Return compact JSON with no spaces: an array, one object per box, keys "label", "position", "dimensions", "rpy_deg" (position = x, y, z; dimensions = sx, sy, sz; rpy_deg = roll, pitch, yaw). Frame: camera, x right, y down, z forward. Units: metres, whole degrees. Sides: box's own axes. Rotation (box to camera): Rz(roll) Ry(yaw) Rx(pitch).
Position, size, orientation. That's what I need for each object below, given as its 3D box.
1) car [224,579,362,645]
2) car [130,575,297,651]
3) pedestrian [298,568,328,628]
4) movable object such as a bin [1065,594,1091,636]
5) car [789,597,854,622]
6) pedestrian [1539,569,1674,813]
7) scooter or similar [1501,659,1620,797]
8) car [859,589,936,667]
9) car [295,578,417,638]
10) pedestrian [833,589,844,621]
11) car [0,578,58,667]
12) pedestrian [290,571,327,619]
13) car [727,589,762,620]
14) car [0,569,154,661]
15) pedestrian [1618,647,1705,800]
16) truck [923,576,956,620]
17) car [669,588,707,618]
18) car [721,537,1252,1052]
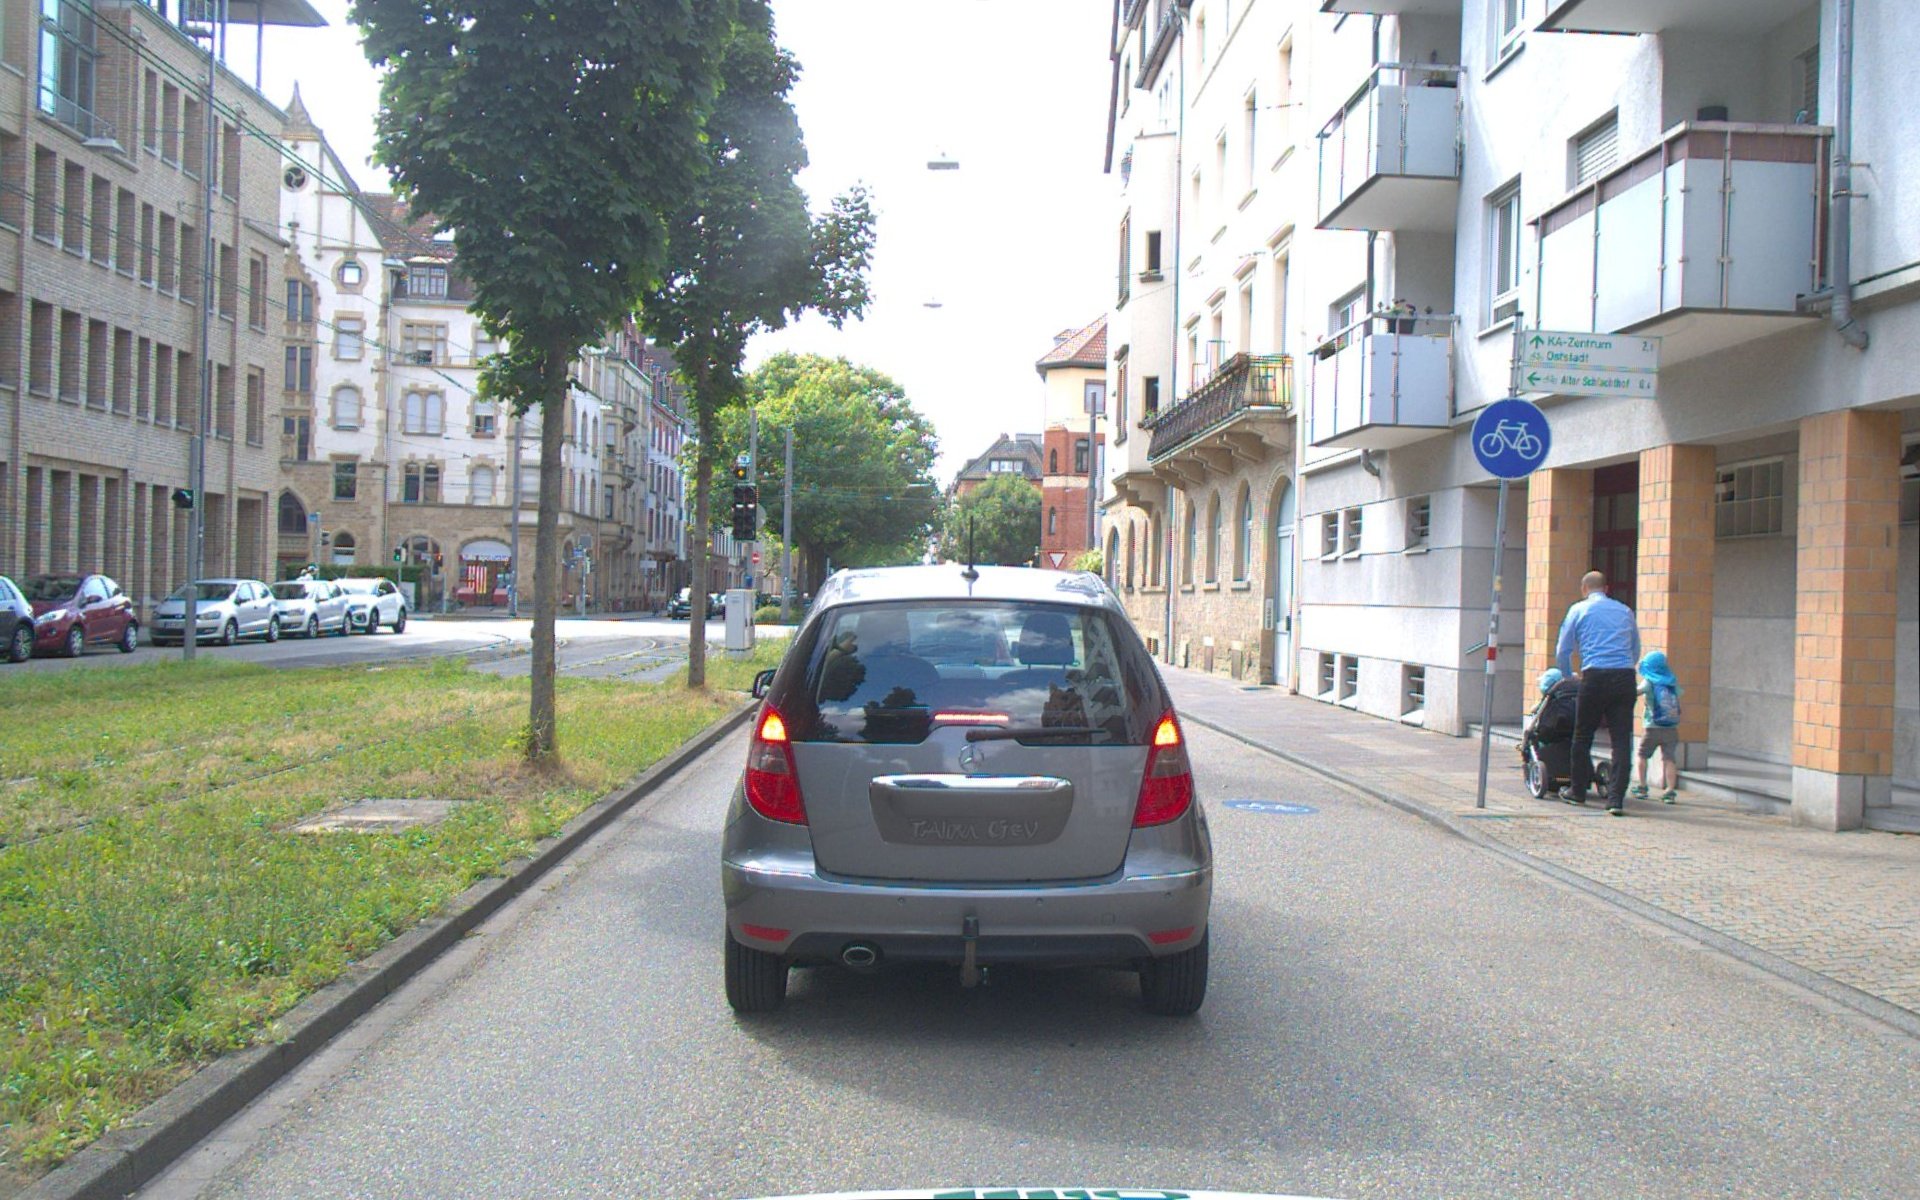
[{"label":"car","position":[-16.948,0.292,42.221],"dimensions":[1.893,1.557,4.014],"rpy_deg":[1,0,-1]},{"label":"car","position":[-16.572,0.260,36.944],"dimensions":[1.813,1.557,4.209],"rpy_deg":[1,0,-1]},{"label":"pedestrian","position":[-20.275,-0.061,51.806],"dimensions":[0.751,1.827,0.952],"rpy_deg":[2,0,-27]},{"label":"movable object such as a bin","position":[4.271,0.546,59.686],"dimensions":[0.701,1.497,0.980],"rpy_deg":[1,0,-10]},{"label":"car","position":[-8.261,0.539,98.439],"dimensions":[1.957,1.362,3.941],"rpy_deg":[2,0,-41]},{"label":"pedestrian","position":[4.895,0.665,12.561],"dimensions":[0.608,1.769,0.877],"rpy_deg":[-2,0,-1]},{"label":"scooter or similar","position":[4.854,1.017,13.410],"dimensions":[0.580,1.019,0.905],"rpy_deg":[-3,0,-1]},{"label":"car","position":[-1.429,0.633,38.812],"dimensions":[1.687,1.736,3.676],"rpy_deg":[1,0,-1]},{"label":"car","position":[-16.978,0.217,46.730],"dimensions":[1.893,1.561,4.257],"rpy_deg":[1,0,-1]},{"label":"pedestrian","position":[-6.855,0.288,93.440],"dimensions":[0.484,1.755,0.652],"rpy_deg":[2,0,-10]},{"label":"car","position":[-16.178,0.339,25.800],"dimensions":[1.893,1.420,4.238],"rpy_deg":[1,0,-1]},{"label":"pedestrian","position":[-24.198,-0.181,61.429],"dimensions":[0.763,1.752,1.017],"rpy_deg":[1,0,44]},{"label":"car","position":[-12.640,0.267,97.024],"dimensions":[1.955,1.758,3.994],"rpy_deg":[1,0,-7]},{"label":"car","position":[-16.406,0.245,30.271],"dimensions":[1.550,1.557,3.549],"rpy_deg":[1,0,-1]},{"label":"pedestrian","position":[5.516,0.963,13.021],"dimensions":[0.447,1.154,0.494],"rpy_deg":[-2,0,-1]},{"label":"truck","position":[-1.422,-0.140,116.669],"dimensions":[2.079,3.022,4.001],"rpy_deg":[1,0,2]},{"label":"car","position":[-15.693,0.175,95.440],"dimensions":[1.955,1.646,3.994],"rpy_deg":[1,0,-7]},{"label":"car","position":[0.063,0.629,7.148],"dimensions":[1.687,1.633,3.676],"rpy_deg":[1,0,-1]}]
